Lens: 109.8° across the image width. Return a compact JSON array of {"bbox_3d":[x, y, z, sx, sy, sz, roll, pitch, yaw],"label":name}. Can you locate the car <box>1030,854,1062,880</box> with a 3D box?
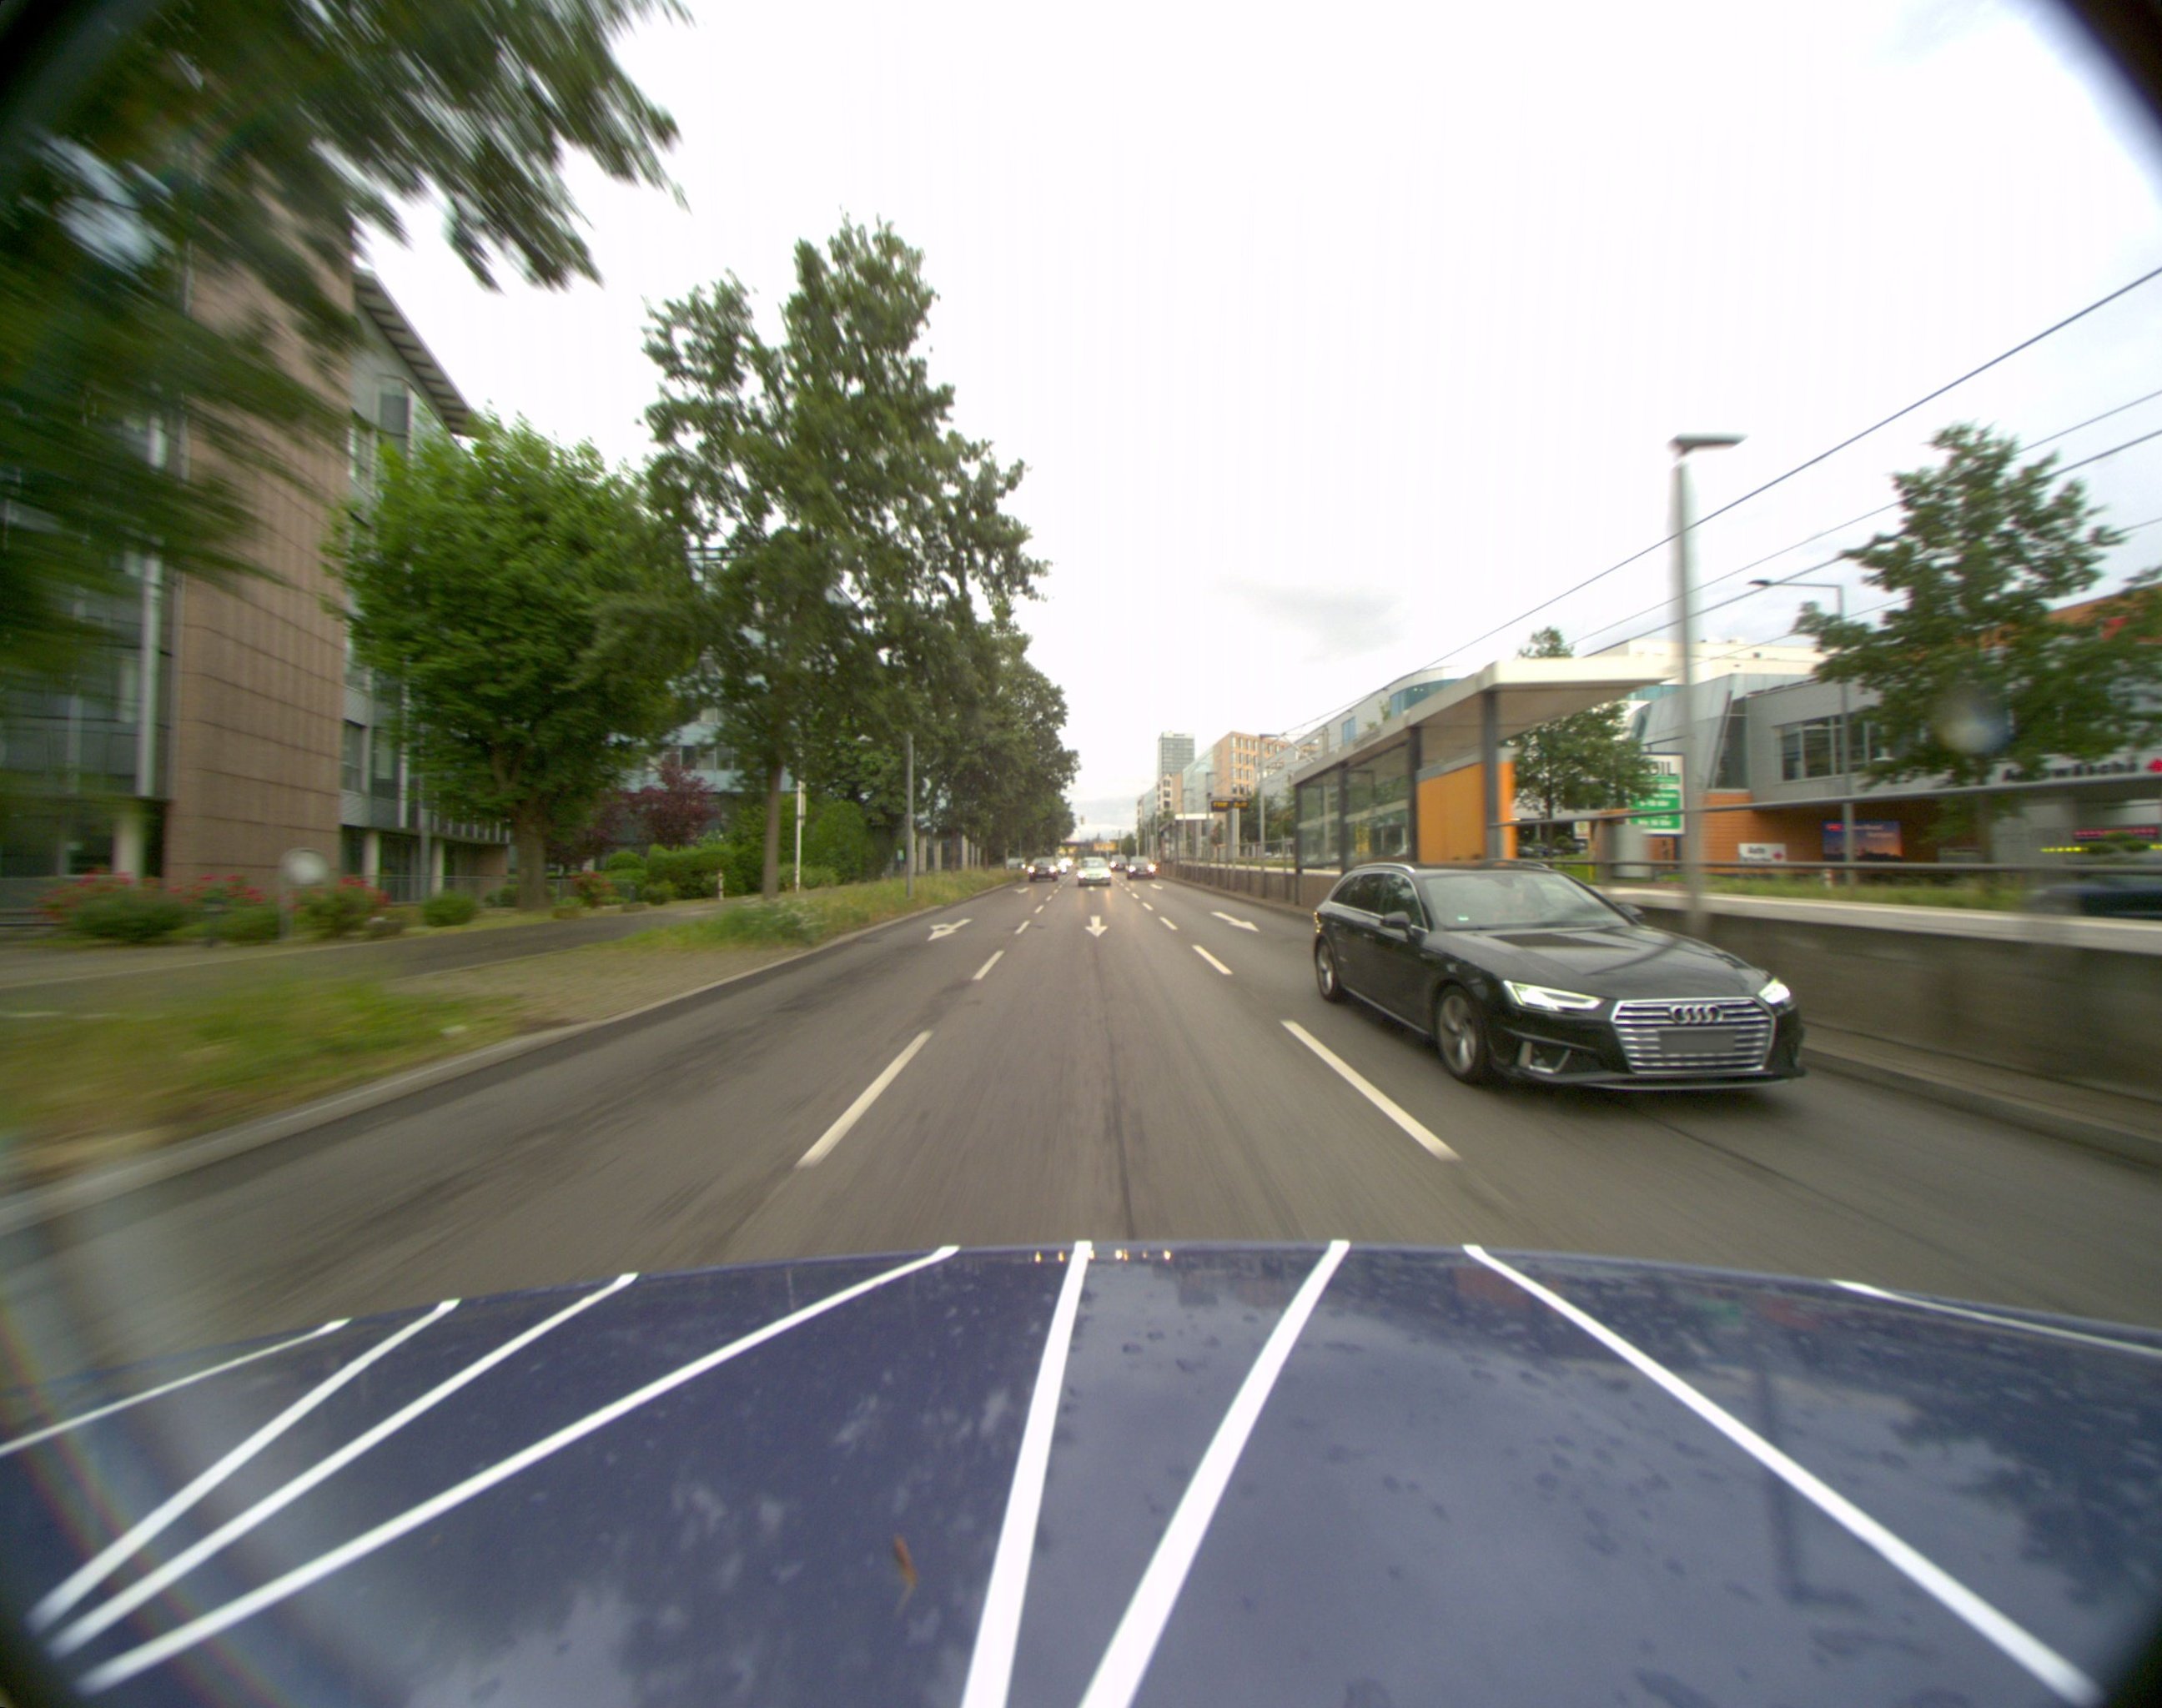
[{"bbox_3d":[-2.333,0.862,51.612,1.816,1.660,4.549,-1,0,1],"label":"car"}]

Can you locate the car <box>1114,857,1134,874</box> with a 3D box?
[{"bbox_3d":[4.339,1.141,77.092,1.781,1.670,4.131,-1,0,1],"label":"car"}]

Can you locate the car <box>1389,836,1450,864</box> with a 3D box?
[{"bbox_3d":[34.847,-0.442,78.247,5.488,2.614,2.276,-2,1,-17],"label":"car"}]

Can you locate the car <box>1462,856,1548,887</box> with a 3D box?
[{"bbox_3d":[23.229,0.903,41.833,1.999,1.509,4.706,-2,1,-1],"label":"car"}]

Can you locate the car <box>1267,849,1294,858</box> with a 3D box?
[{"bbox_3d":[33.178,-0.105,126.257,3.845,1.482,1.821,-1,0,-18],"label":"car"}]

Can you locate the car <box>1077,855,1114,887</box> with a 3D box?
[{"bbox_3d":[0.731,0.825,39.699,1.803,1.533,4.374,-1,0,1],"label":"car"}]

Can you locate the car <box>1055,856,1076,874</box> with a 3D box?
[{"bbox_3d":[-1.443,1.016,71.957,1.873,1.533,4.107,-1,0,1],"label":"car"}]

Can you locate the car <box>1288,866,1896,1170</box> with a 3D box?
[{"bbox_3d":[3.247,0.874,6.265,1.794,1.426,4.828,-1,0,1],"label":"car"}]

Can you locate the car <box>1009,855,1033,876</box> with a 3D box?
[{"bbox_3d":[-5.188,0.977,66.222,1.816,1.660,4.370,-1,0,-1],"label":"car"}]

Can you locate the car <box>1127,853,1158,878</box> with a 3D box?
[{"bbox_3d":[3.965,0.733,49.607,1.798,1.493,4.000,-1,0,1],"label":"car"}]

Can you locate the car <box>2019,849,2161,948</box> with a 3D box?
[{"bbox_3d":[20.381,0.802,13.517,1.998,1.764,4.389,-1,0,1],"label":"car"}]

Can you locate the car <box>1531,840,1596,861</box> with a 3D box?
[{"bbox_3d":[50.228,-0.358,79.197,5.483,1.915,2.278,-2,1,-5],"label":"car"}]
